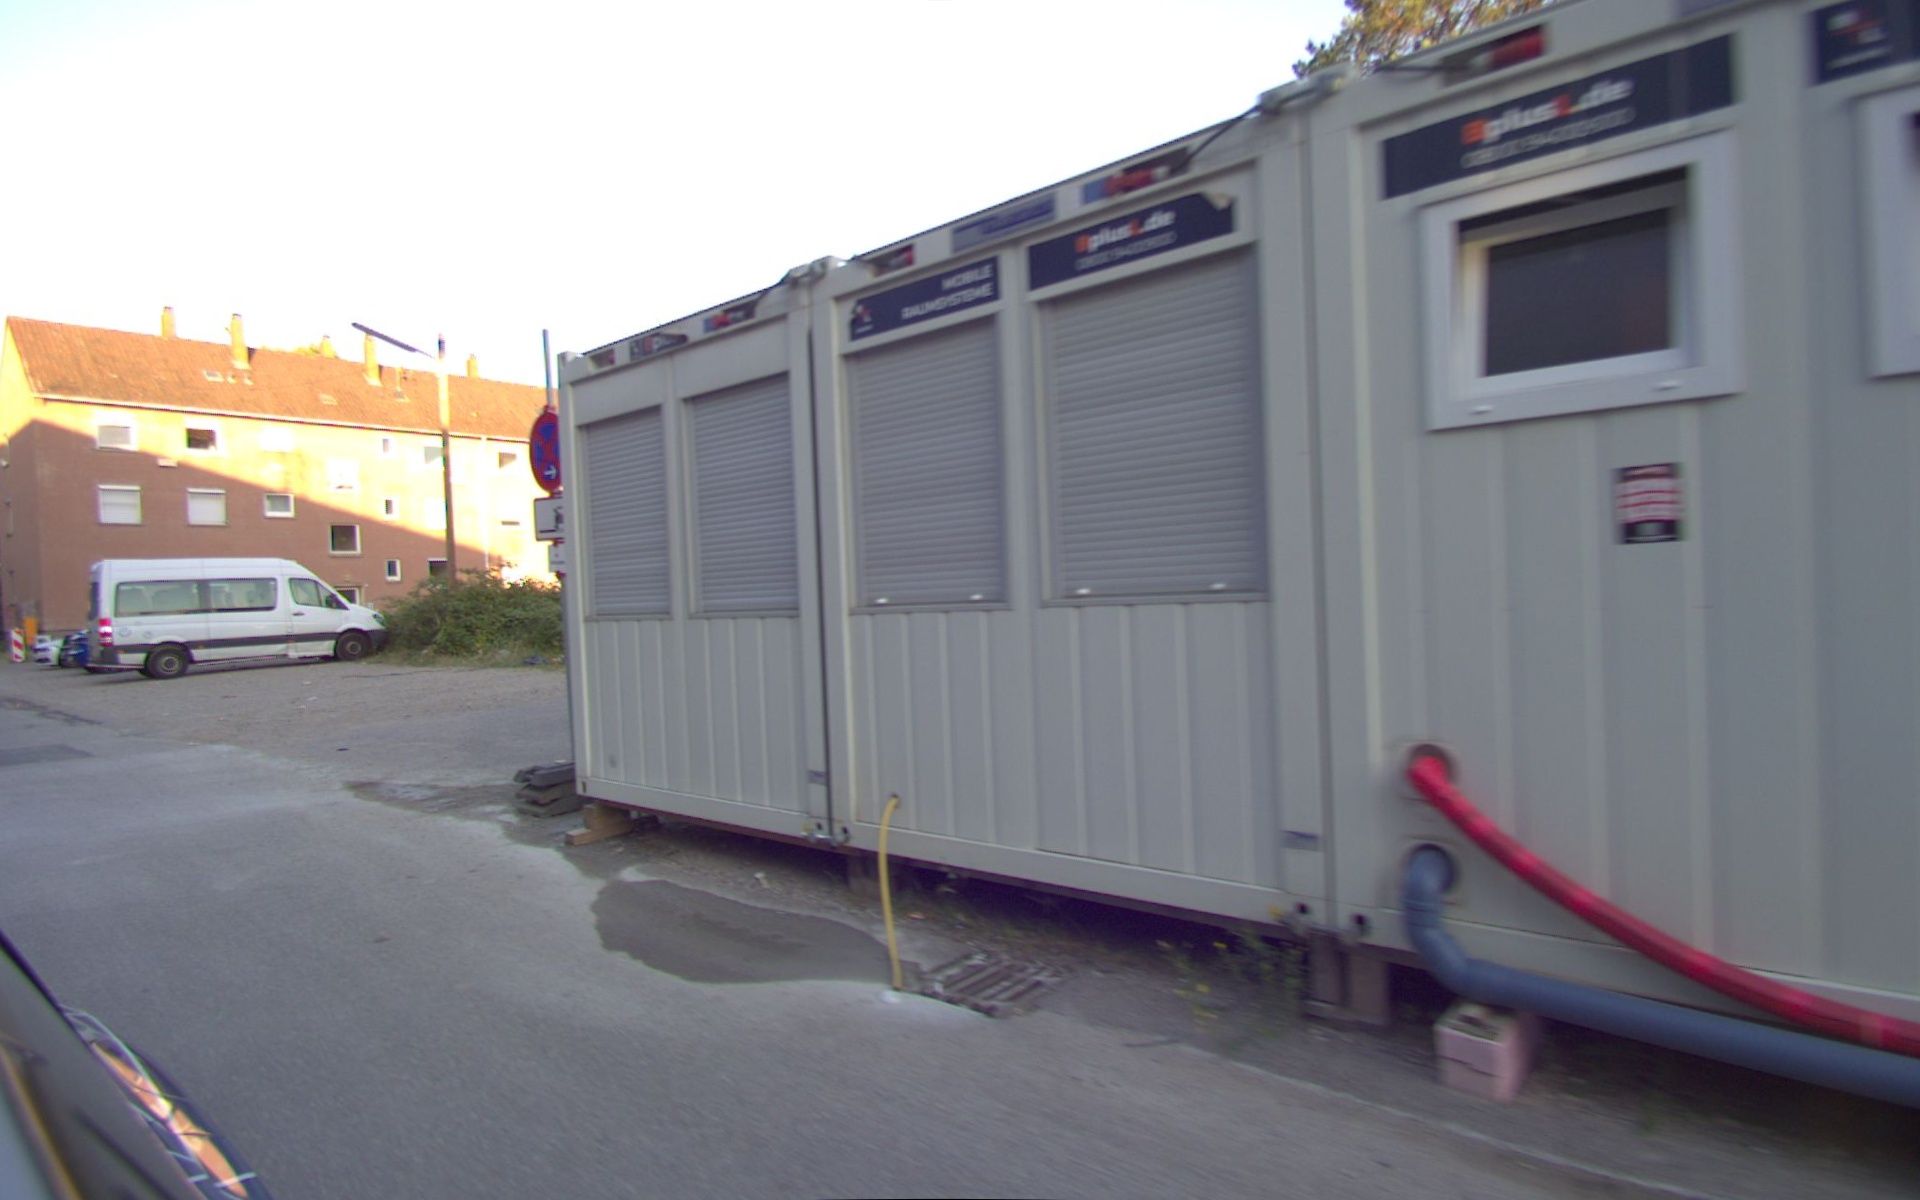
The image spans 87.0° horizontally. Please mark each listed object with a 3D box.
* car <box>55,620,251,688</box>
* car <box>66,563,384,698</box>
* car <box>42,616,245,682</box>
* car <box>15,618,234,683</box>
[{"bbox_3d":[-21.665,1.402,27.291,1.725,1.440,3.801,-2,2,38],"label":"car"},{"bbox_3d":[-17.137,0.586,23.891,2.221,2.645,5.630,-2,2,42],"label":"car"},{"bbox_3d":[-24.207,1.410,30.169,1.724,1.556,4.377,-2,2,37],"label":"car"},{"bbox_3d":[-26.275,1.536,32.014,2.112,1.556,4.950,-2,2,36],"label":"car"}]
